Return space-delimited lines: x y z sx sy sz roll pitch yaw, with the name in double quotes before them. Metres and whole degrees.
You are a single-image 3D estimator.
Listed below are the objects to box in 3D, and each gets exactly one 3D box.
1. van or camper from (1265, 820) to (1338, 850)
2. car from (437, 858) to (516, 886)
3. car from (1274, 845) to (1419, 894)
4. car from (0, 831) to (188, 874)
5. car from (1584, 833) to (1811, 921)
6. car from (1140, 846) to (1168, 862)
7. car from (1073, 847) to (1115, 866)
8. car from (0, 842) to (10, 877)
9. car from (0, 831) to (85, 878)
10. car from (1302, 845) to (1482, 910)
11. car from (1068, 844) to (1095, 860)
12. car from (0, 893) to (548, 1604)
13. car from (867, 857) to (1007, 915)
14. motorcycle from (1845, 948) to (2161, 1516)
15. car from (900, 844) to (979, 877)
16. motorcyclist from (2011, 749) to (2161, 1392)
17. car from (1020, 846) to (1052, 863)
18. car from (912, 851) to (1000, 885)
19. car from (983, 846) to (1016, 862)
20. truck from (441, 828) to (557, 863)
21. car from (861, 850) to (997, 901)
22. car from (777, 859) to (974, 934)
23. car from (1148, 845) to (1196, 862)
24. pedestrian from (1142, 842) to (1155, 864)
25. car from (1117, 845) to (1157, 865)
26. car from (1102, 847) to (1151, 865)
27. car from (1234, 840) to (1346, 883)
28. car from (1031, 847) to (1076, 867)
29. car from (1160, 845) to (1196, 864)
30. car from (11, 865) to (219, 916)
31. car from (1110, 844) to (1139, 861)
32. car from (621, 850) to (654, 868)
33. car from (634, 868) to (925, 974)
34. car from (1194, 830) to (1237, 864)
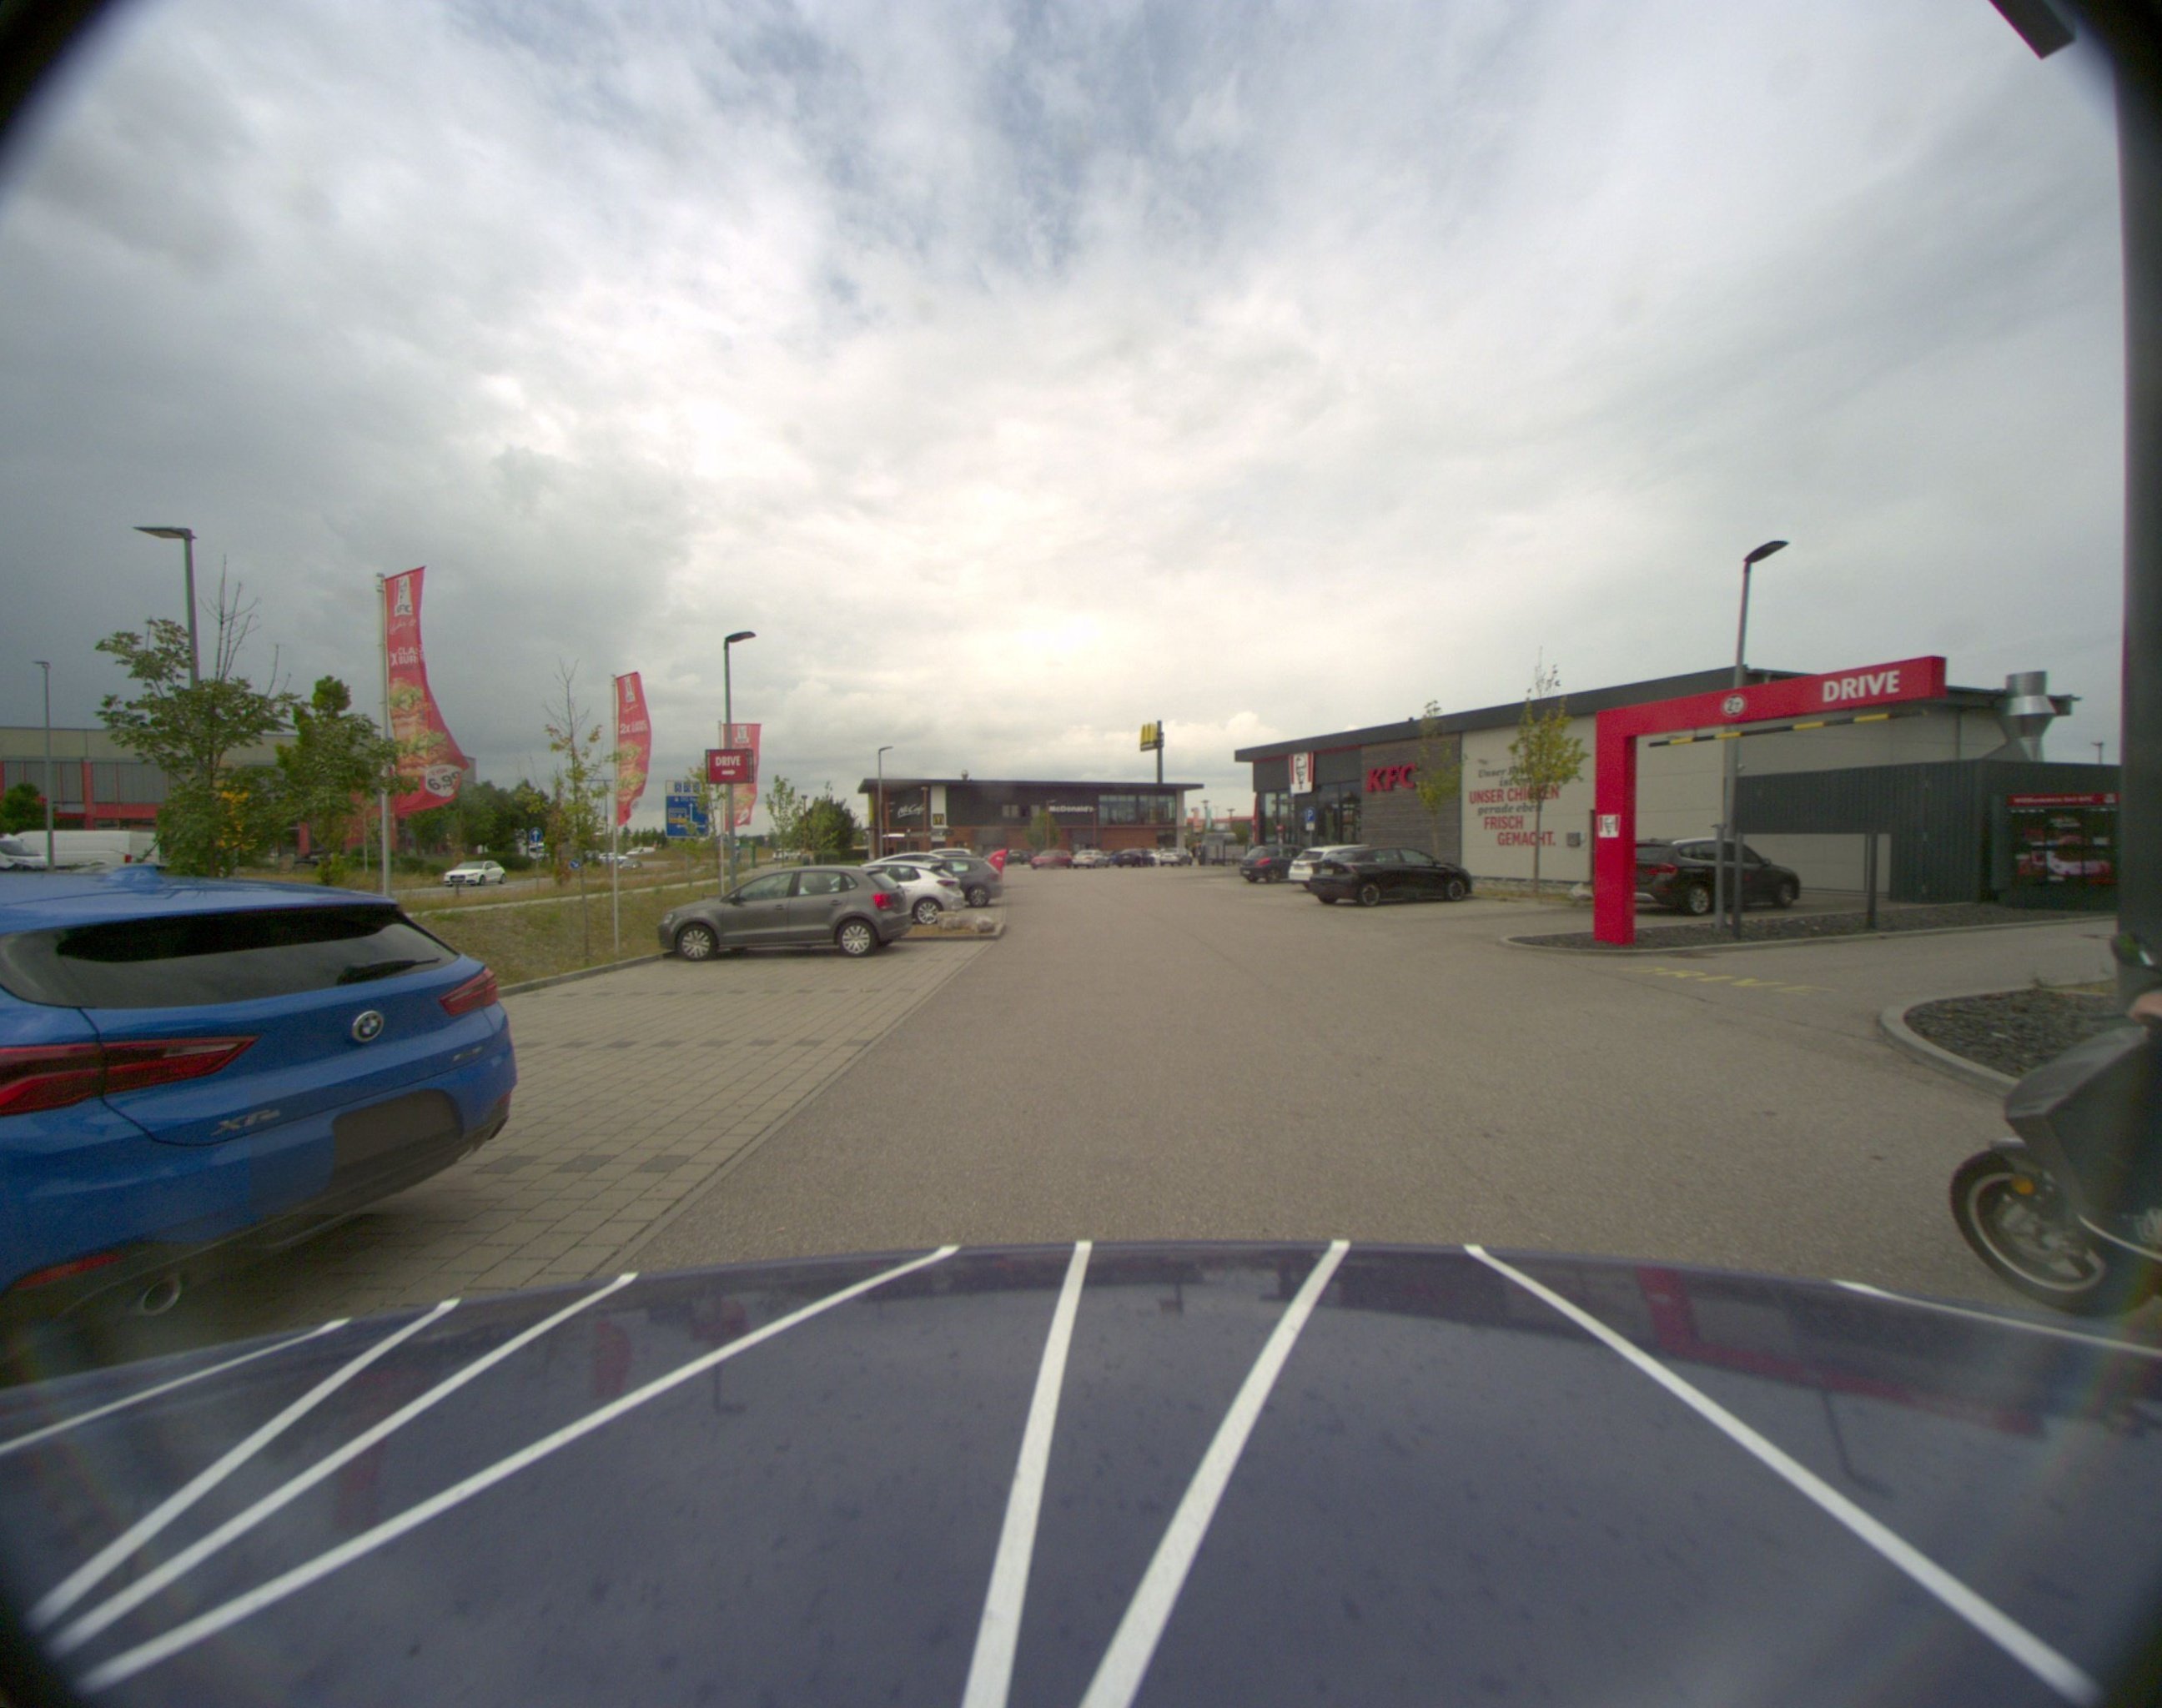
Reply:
"van or camper" 21.762 -1.832 75.128 6.556 2.685 2.177 -1 0 30
"car" -34.451 0.996 43.430 1.755 1.482 4.126 -1 0 -10
"car" 8.790 0.463 25.278 4.182 1.477 1.997 -1 1 -17
"car" -54.008 -0.080 41.494 6.512 2.255 2.341 1 1 -19
"car" 12.700 0.410 15.688 4.003 1.587 1.733 -2 2 -18
"car" 8.189 -0.029 84.531 1.785 1.478 4.005 2 3 26
"car" 1.063 0.170 58.353 1.749 1.404 4.466 -1 0 21
"car" -52.366 0.249 33.918 5.074 1.629 2.074 1 0 -16
"car" -53.305 0.000 36.694 6.063 2.201 2.412 1 0 -16
"car" 8.001 0.554 19.608 4.126 1.519 1.738 -1 1 -18
"car" -0.014 -0.193 85.824 1.754 1.743 3.992 0 1 -21
"car" -4.571 0.988 2.580 4.211 1.535 1.865 -1 1 3
"car" -4.088 0.895 22.139 3.807 1.404 1.737 -3 1 -6
"motorcycle" 2.900 0.941 1.544 0.794 1.201 1.921 -2 1 1
"car" -8.309 0.344 44.538 4.374 1.703 1.989 -3 1 -14
"motorcyclist" 2.875 0.492 1.537 0.830 1.480 0.941 -2 2 2
"car" -4.737 0.045 79.916 1.996 1.739 4.006 1 0 18
"car" -6.148 0.658 37.207 4.072 1.404 1.886 -3 1 -14
"car" -8.433 -0.032 78.565 1.746 1.575 3.911 1 1 21
"truck" -78.451 -1.156 102.677 12.002 4.473 3.762 1 1 -12
"car" -5.365 0.731 27.226 4.545 1.532 1.924 -3 1 -8
"car" -4.546 0.917 17.260 3.937 1.404 1.839 -2 1 -2
"car" 8.409 -0.050 70.220 4.101 1.458 1.783 0 -1 22
"pedestrian" 5.174 -0.059 58.339 0.747 1.668 0.844 1 1 24
"car" 4.435 0.066 59.727 1.683 1.454 4.414 -1 0 24
"car" 4.134 0.145 69.198 3.989 1.501 1.772 1 1 26
"car" 8.346 0.264 30.395 3.942 1.478 1.756 -3 1 -17
"car" -2.048 0.236 57.850 1.683 1.455 4.007 -1 0 25
"car" 7.924 0.021 61.582 1.683 1.443 4.007 -1 0 25
"car" -31.120 1.125 24.699 1.755 1.482 4.127 -1 0 -7
"car" 4.798 -0.170 82.988 1.894 1.653 4.264 1 3 22
"car" -45.403 0.523 77.858 2.002 1.696 3.993 0 2 -17
"car" -4.761 1.040 12.428 3.997 1.420 1.727 -2 1 -1
"car" 10.981 -0.556 61.363 2.068 2.538 7.024 -1 0 21
